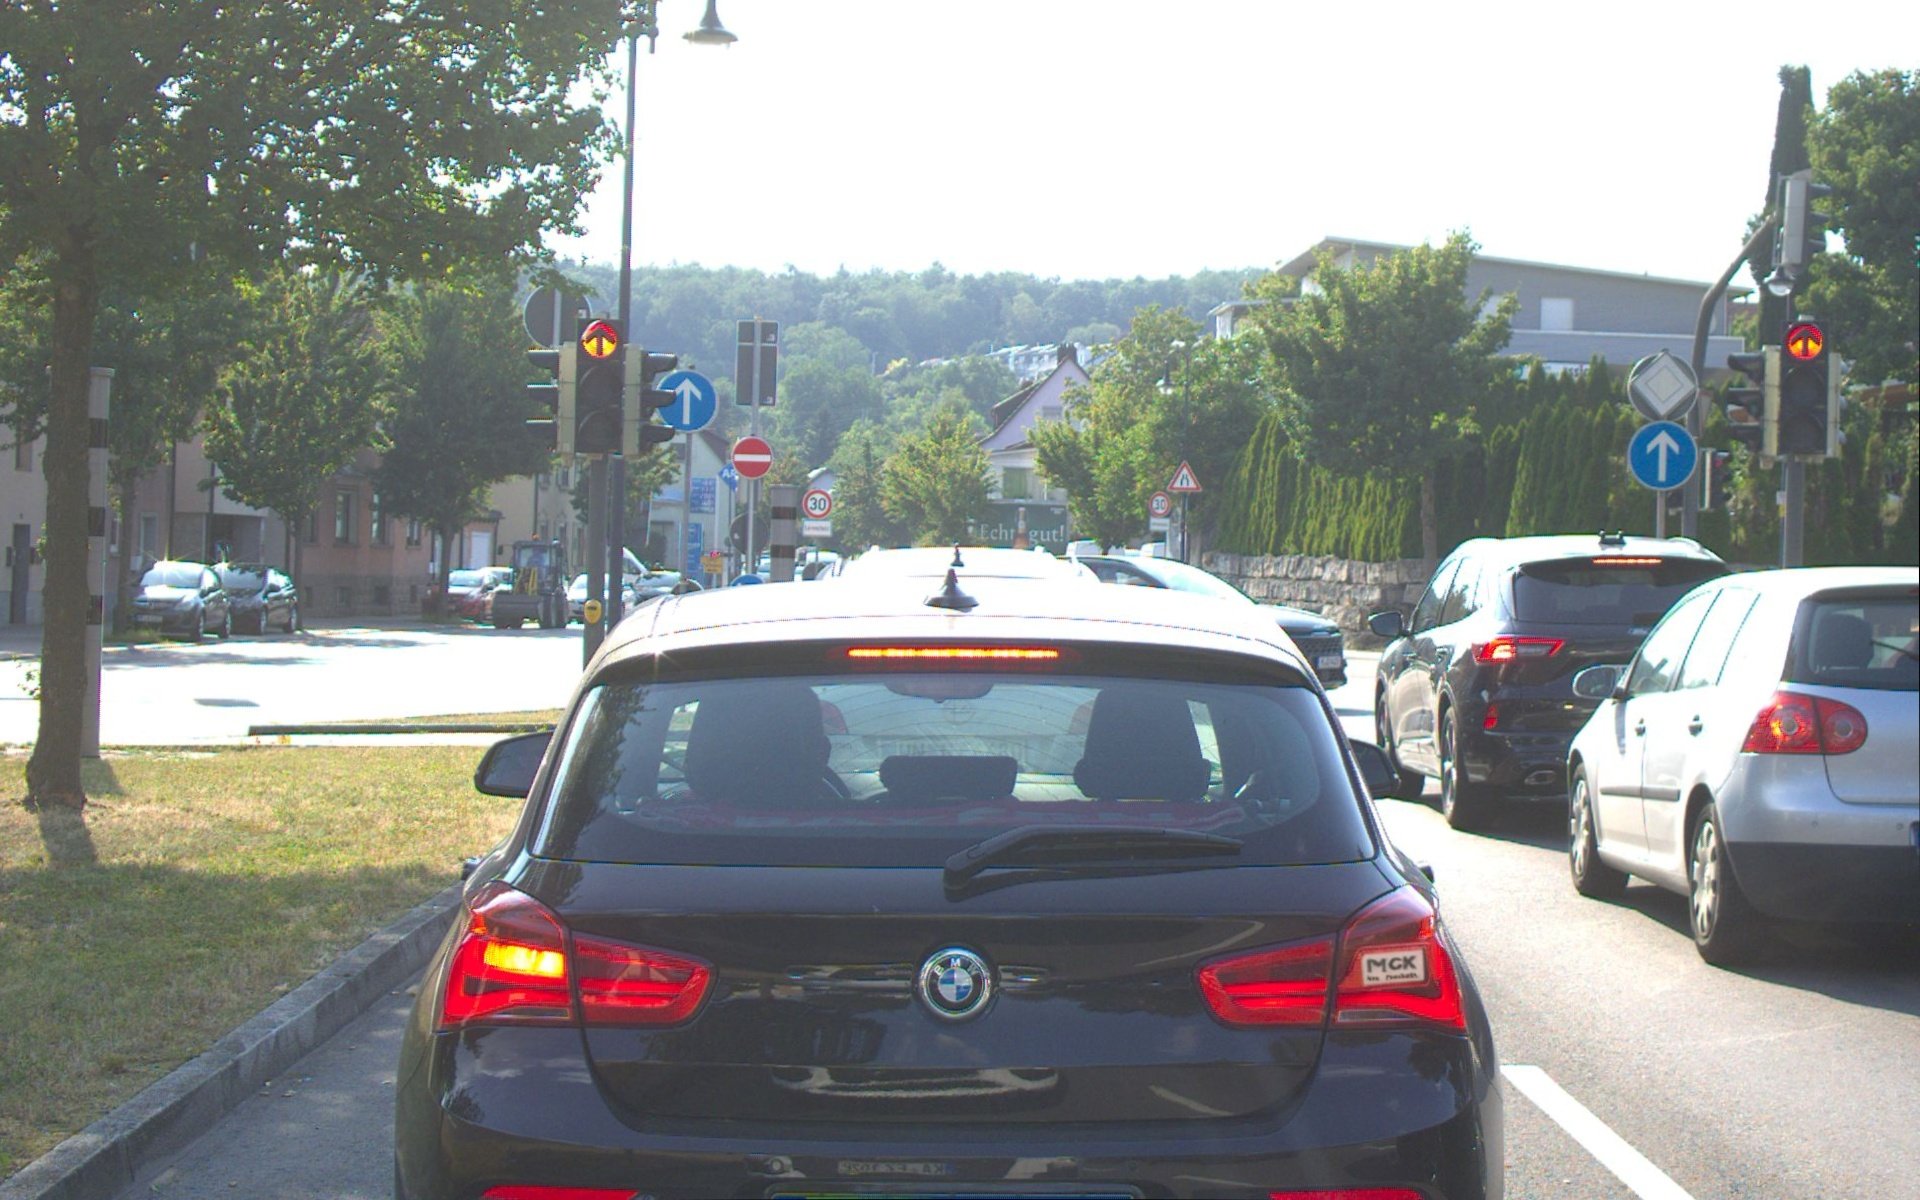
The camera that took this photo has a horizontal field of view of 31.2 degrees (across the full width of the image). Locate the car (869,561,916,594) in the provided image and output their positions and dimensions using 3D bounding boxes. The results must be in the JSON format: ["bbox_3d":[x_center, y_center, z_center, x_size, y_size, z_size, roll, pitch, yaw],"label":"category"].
[{"bbox_3d":[-2.964,-0.988,150.967,1.737,1.296,3.799,5,1,2],"label":"car"}]

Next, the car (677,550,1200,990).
[{"bbox_3d":[-0.072,0.557,14.008,1.788,1.488,4.281,-1,1,0],"label":"car"}]

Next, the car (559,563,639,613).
[{"bbox_3d":[-10.745,-0.366,102.467,1.737,1.296,3.799,5,1,2],"label":"car"}]

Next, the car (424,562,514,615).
[{"bbox_3d":[-13.854,-0.344,97.169,1.737,1.296,3.799,5,1,2],"label":"car"}]

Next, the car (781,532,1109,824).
[{"bbox_3d":[-0.078,0.392,21.047,1.788,1.588,4.281,-1,1,0],"label":"car"}]

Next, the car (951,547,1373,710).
[{"bbox_3d":[2.174,0.274,37.501,4.210,1.674,1.967,0,1,37],"label":"car"}]

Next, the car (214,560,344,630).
[{"bbox_3d":[-14.513,-0.119,73.432,1.737,1.296,4.000,5,1,2],"label":"car"}]

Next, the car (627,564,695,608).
[{"bbox_3d":[-10.114,-0.494,116.565,1.737,1.296,3.799,5,1,2],"label":"car"}]

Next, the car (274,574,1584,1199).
[{"bbox_3d":[-0.036,0.677,6.862,1.788,1.393,4.281,-1,1,0],"label":"car"}]

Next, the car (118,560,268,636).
[{"bbox_3d":[-14.935,-0.062,67.156,1.737,1.296,4.000,5,1,3],"label":"car"}]

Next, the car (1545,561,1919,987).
[{"bbox_3d":[3.557,0.575,13.745,1.761,1.421,3.903,-1,1,0],"label":"car"}]

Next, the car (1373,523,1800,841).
[{"bbox_3d":[3.530,0.397,20.027,1.761,1.650,3.903,-1,1,0],"label":"car"}]

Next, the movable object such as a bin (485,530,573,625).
[{"bbox_3d":[-11.299,-0.607,90.311,1.736,2.433,4.450,0,1,0],"label":"movable object such as a bin"}]
